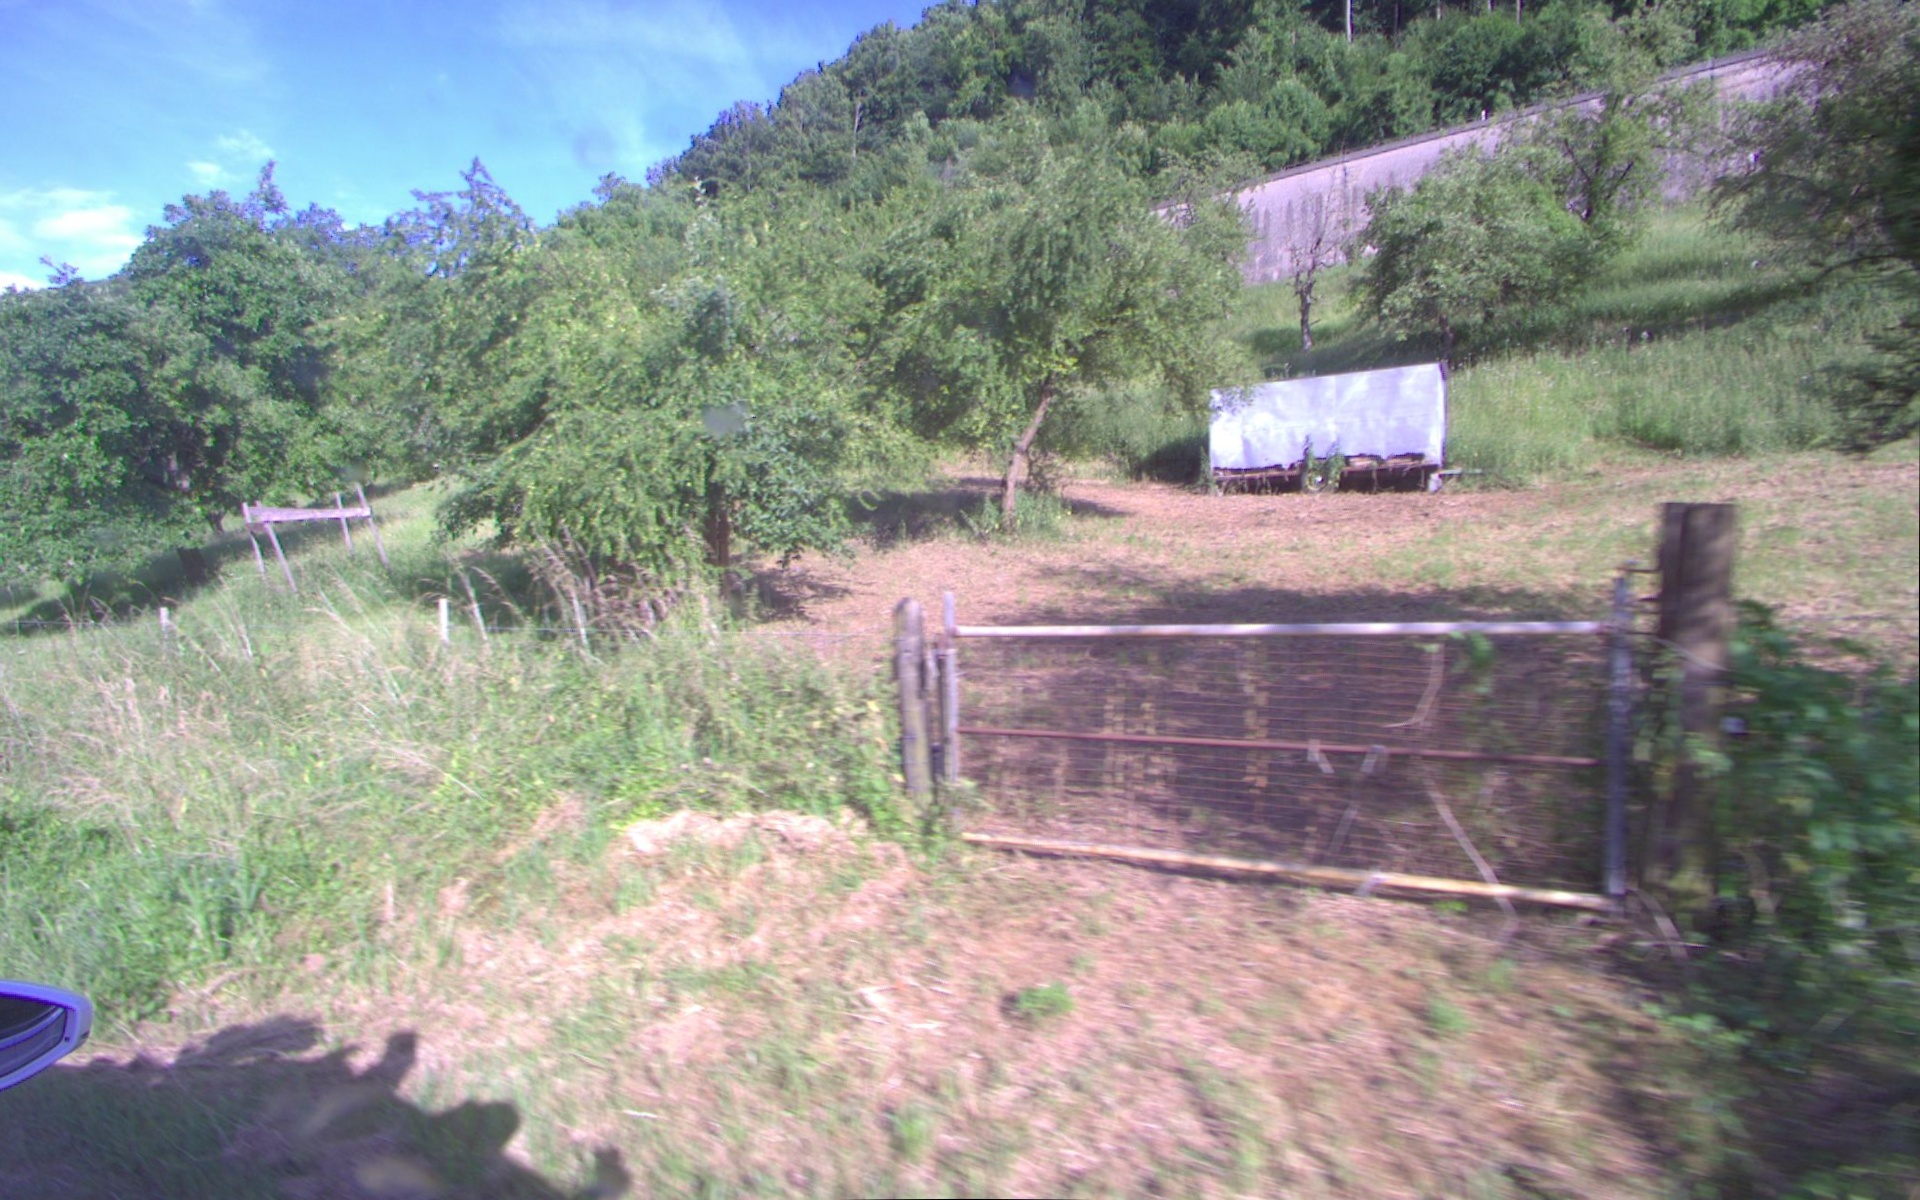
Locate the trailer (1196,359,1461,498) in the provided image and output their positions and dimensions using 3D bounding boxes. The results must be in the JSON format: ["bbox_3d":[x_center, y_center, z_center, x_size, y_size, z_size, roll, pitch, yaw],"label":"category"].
[{"bbox_3d":[8.118,-3.640,22.199,5.164,2.595,2.149,3,4,29],"label":"trailer"}]
